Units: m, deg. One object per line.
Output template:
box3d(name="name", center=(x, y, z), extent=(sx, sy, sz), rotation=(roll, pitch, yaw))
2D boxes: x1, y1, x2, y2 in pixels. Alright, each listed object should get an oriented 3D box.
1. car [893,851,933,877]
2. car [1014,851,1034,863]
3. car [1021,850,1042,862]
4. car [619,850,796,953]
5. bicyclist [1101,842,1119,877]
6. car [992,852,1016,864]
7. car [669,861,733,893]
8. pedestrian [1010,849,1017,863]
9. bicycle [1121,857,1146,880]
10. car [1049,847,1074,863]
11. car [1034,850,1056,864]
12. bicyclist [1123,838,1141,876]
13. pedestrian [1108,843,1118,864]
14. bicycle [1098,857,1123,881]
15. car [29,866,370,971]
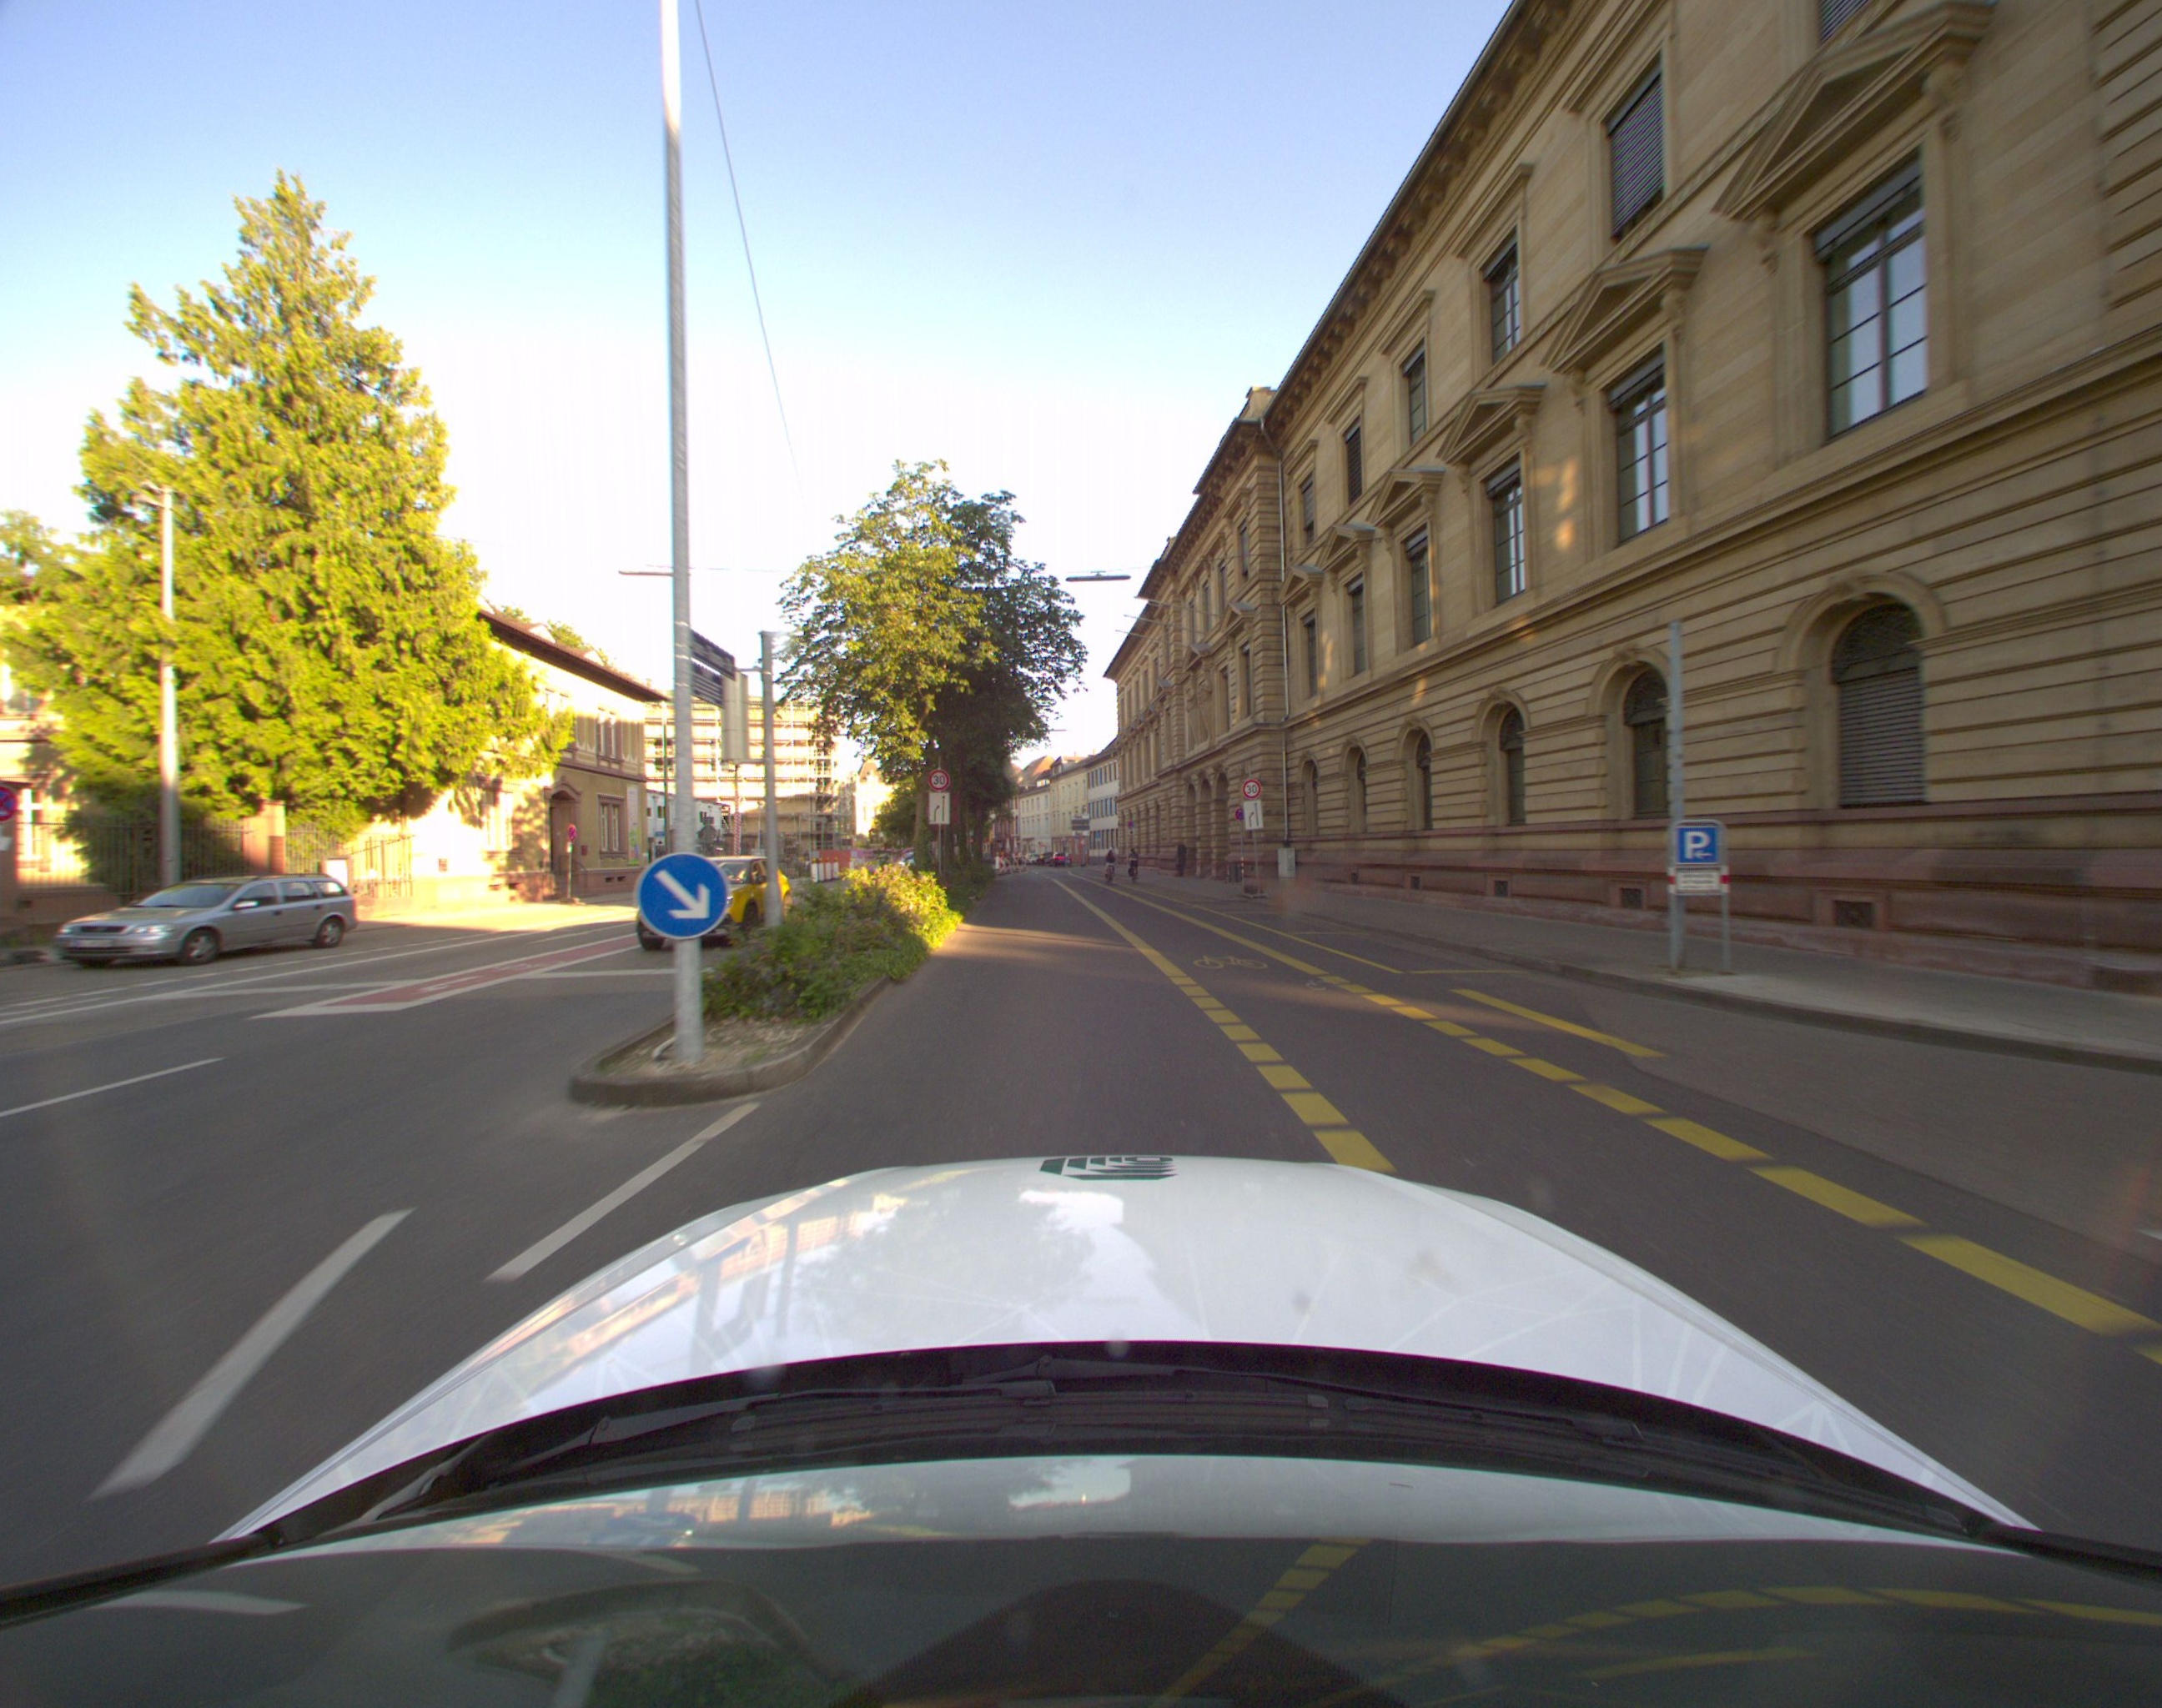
box3d(name="car", center=(-11.891, 0.696, 57.958), extent=(1.837, 1.674, 4.555), rotation=(-3, 0, 0))
box3d(name="car", center=(-7.716, 0.354, 110.461), extent=(1.817, 1.560, 3.842), rotation=(-1, 0, -17))
box3d(name="car", center=(-6.479, 0.229, 106.224), extent=(1.817, 1.560, 3.842), rotation=(-1, 0, -17))
box3d(name="car", center=(-6.623, 0.737, 14.952), extent=(1.845, 1.547, 4.106), rotation=(-2, 0, -9))
box3d(name="bicyclist", center=(1.336, 0.255, 37.494), extent=(0.669, 1.566, 0.695), rotation=(1, -1, -13))
box3d(name="car", center=(-10.237, 0.514, 107.944), extent=(1.822, 1.560, 3.830), rotation=(-1, 0, -28))
box3d(name="car", center=(-18.396, 1.080, 39.622), extent=(1.679, 1.351, 3.876), rotation=(-3, 0, -8))
box3d(name="pedestrian", center=(-9.167, 0.218, 110.226), extent=(0.828, 1.844, 0.957), rotation=(0, 0, -1))
box3d(name="bicycle", center=(2.472, 0.682, 38.679), extent=(0.653, 1.071, 2.250), rotation=(1, 0, -10))
box3d(name="car", center=(-2.194, 0.080, 90.366), extent=(1.816, 1.682, 3.898), rotation=(-1, 0, -16))
box3d(name="car", center=(-4.365, 0.374, 98.209), extent=(1.816, 1.684, 3.978), rotation=(-1, 0, -16))
box3d(name="bicyclist", center=(2.444, 0.131, 38.854), extent=(0.649, 1.760, 0.861), rotation=(1, 0, -10))
box3d(name="pedestrian", center=(2.648, -0.030, 67.390), extent=(0.814, 1.765, 1.037), rotation=(0, 0, -1))
box3d(name="bicycle", center=(1.353, 0.665, 37.411), extent=(0.670, 1.071, 1.893), rotation=(0, 0, -13))
box3d(name="car", center=(-15.735, 1.038, 14.970), extent=(1.741, 1.547, 4.362), rotation=(0, 0, -5))
